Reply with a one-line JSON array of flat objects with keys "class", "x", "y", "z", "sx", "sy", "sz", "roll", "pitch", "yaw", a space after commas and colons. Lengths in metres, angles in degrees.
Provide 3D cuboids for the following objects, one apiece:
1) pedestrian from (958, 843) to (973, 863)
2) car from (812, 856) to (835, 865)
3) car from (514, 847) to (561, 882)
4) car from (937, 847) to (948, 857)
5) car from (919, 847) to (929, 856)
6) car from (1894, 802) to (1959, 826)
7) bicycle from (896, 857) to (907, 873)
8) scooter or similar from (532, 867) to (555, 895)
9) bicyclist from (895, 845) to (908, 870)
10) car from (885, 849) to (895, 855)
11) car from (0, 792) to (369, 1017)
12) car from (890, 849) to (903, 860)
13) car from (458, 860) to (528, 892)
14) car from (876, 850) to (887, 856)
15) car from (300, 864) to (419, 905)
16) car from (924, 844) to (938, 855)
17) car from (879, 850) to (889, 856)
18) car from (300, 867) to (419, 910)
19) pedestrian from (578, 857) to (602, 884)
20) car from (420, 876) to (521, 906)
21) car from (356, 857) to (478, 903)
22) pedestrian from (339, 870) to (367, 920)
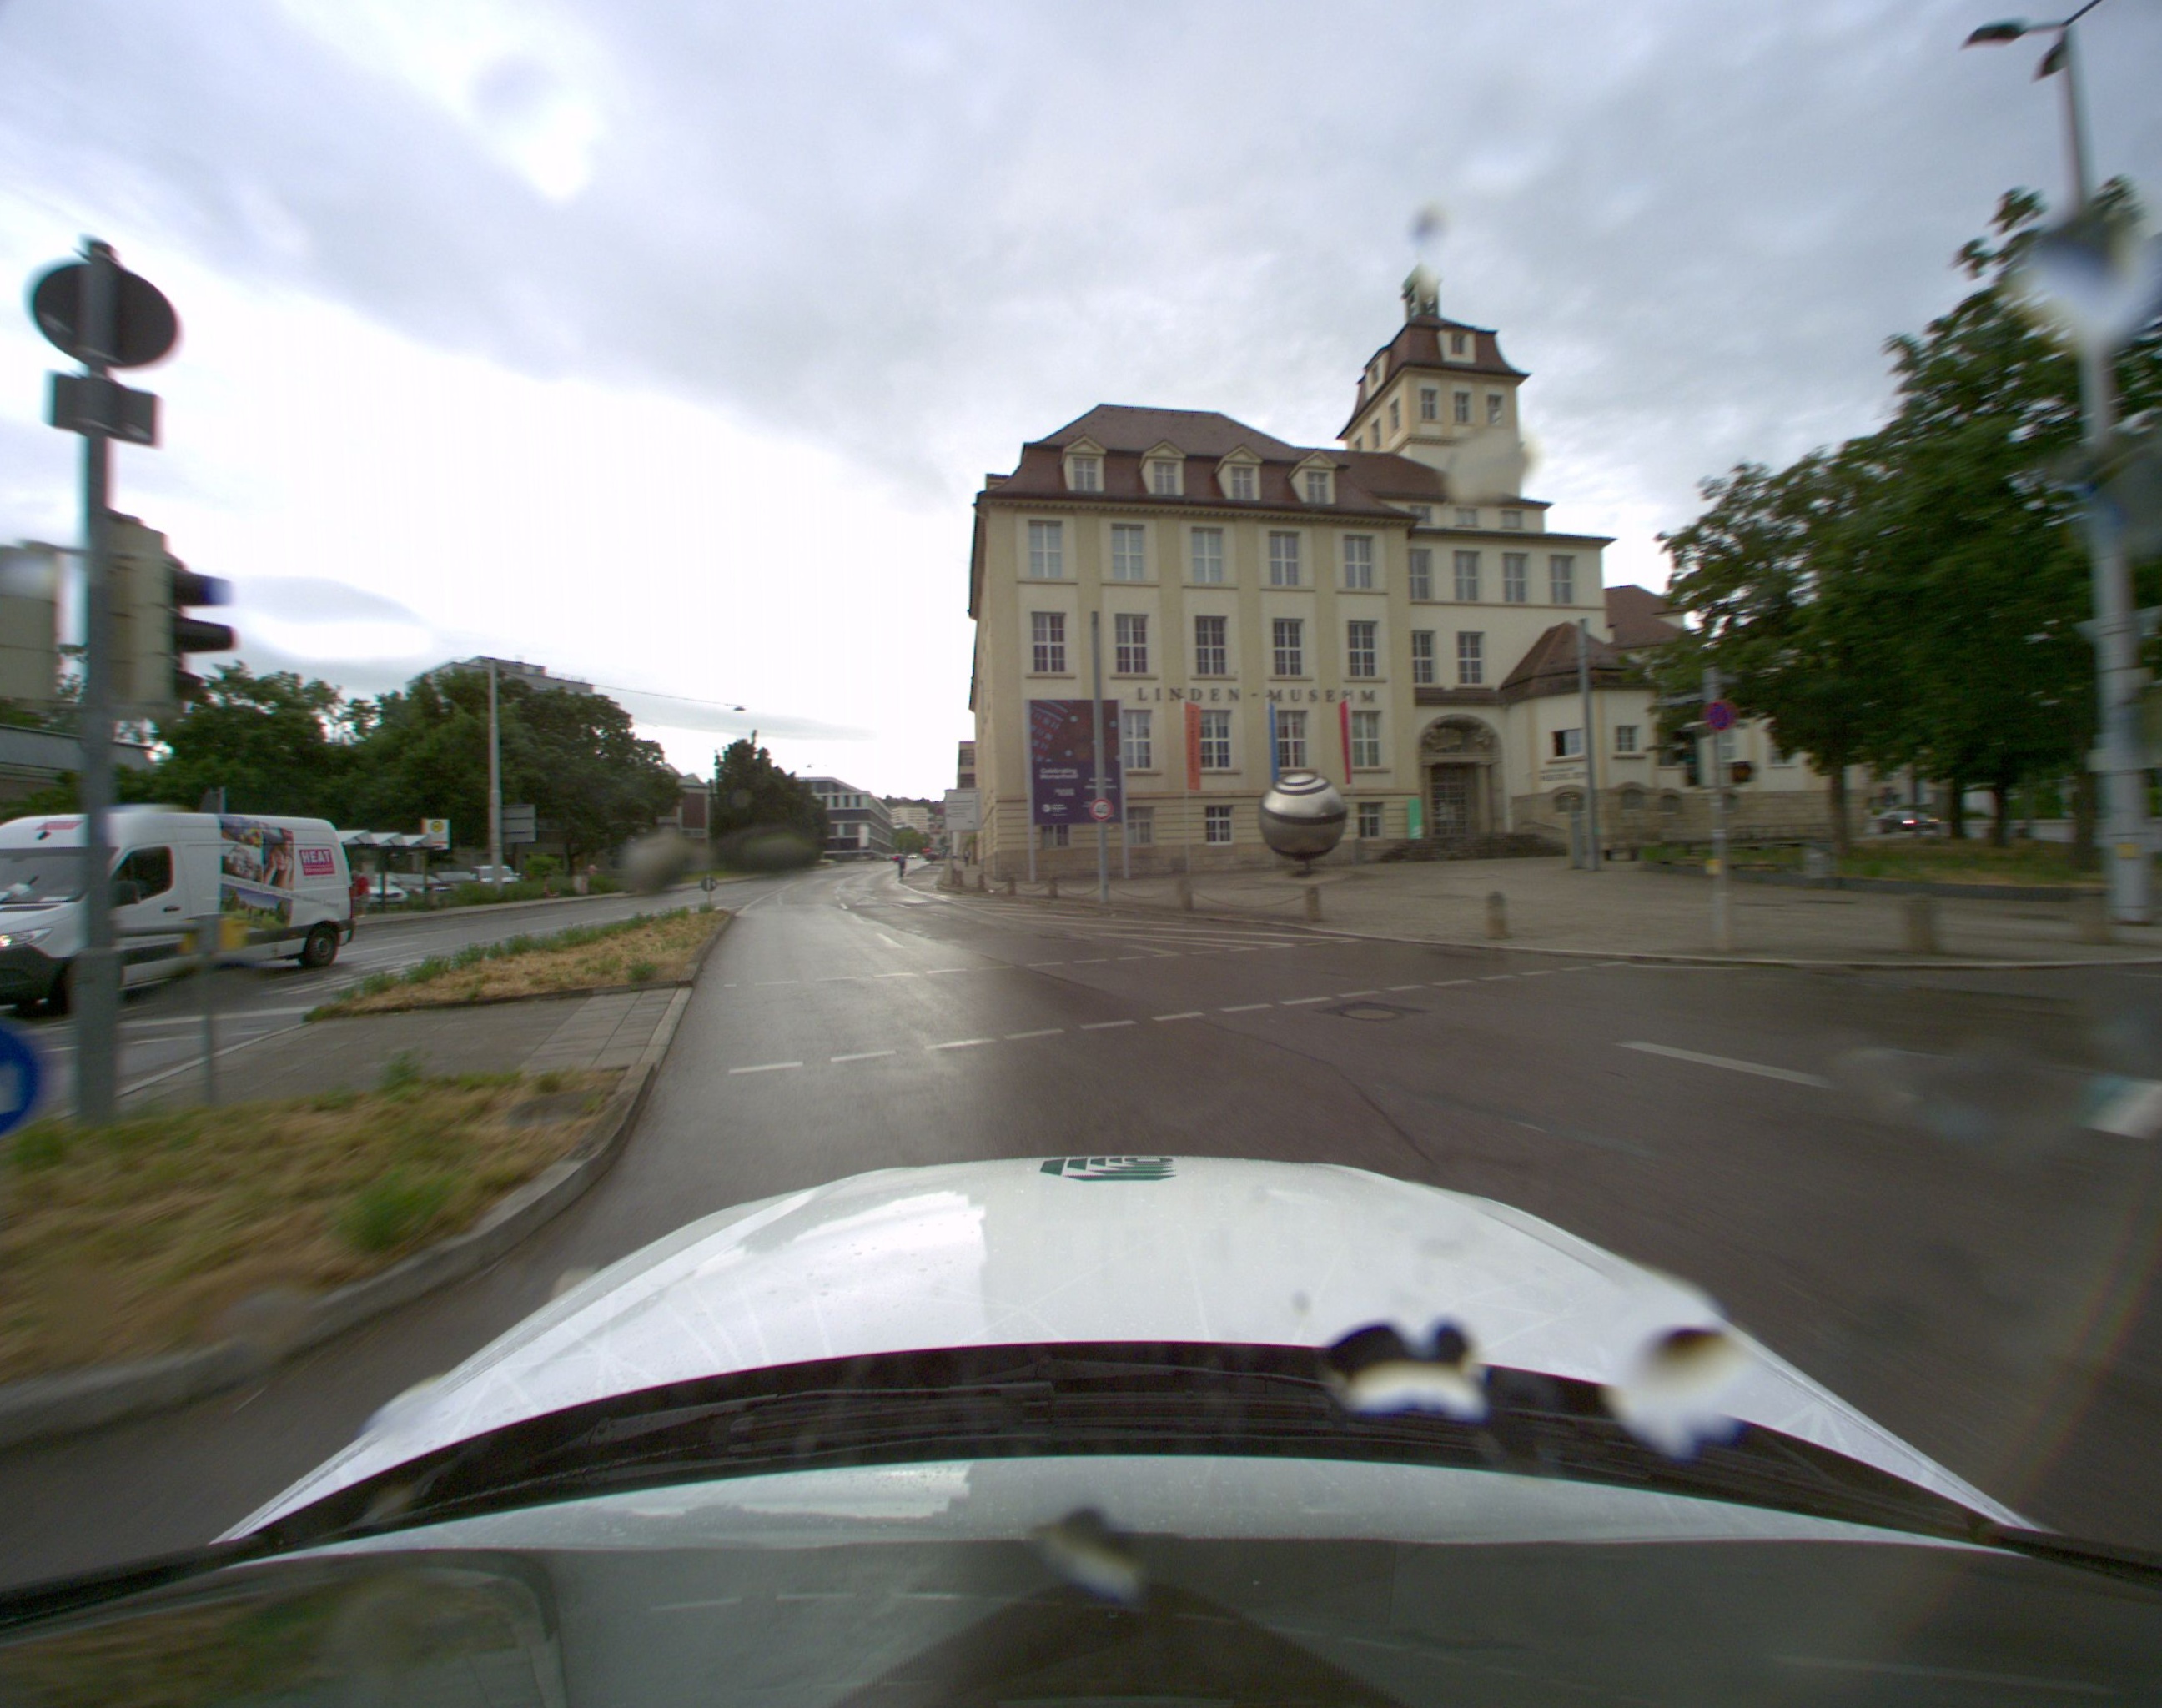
[{"class": "pedestrian", "x": -11.001, "y": -0.100, "z": 77.809, "sx": 1.238, "sy": 1.788, "sz": 1.592, "roll": -4, "pitch": 1, "yaw": -6}, {"class": "car", "x": -63.481, "y": 1.611, "z": 200.608, "sx": 5.228, "sy": 2.013, "sz": 1.993, "roll": -1, "pitch": 0, "yaw": -11}, {"class": "car", "x": -29.669, "y": 0.588, "z": 44.549, "sx": 1.860, "sy": 1.742, "sz": 4.035, "roll": -2, "pitch": -1, "yaw": -31}, {"class": "car", "x": -24.721, "y": -0.317, "z": 145.076, "sx": 1.838, "sy": 1.559, "sz": 3.989, "roll": -1, "pitch": 2, "yaw": -8}, {"class": "car", "x": -31.686, "y": -0.478, "z": 164.652, "sx": 1.838, "sy": 1.559, "sz": 3.989, "roll": -1, "pitch": 2, "yaw": -8}, {"class": "car", "x": 58.285, "y": -2.753, "z": 56.200, "sx": 1.772, "sy": 1.441, "sz": 4.024, "roll": -3, "pitch": 0, "yaw": 26}, {"class": "bicycle", "x": -11.716, "y": 0.714, "z": 53.127, "sx": 0.646, "sy": 1.056, "sz": 1.814, "roll": -1, "pitch": 0, "yaw": -12}, {"class": "scooter or similar", "x": -25.263, "y": 1.253, "z": 38.276, "sx": 0.457, "sy": 1.266, "sz": 0.975, "roll": -1, "pitch": 0, "yaw": -5}, {"class": "bicyclist", "x": -11.711, "y": 0.233, "z": 53.139, "sx": 0.700, "sy": 1.632, "sz": 1.125, "roll": -1, "pitch": 0, "yaw": -10}, {"class": "car", "x": -48.574, "y": -0.486, "z": 207.187, "sx": 1.836, "sy": 1.235, "sz": 3.409, "roll": -1, "pitch": 2, "yaw": -6}, {"class": "car", "x": -13.553, "y": 0.621, "z": 11.773, "sx": 2.060, "sy": 2.494, "sz": 6.014, "roll": -3, "pitch": 1, "yaw": -11}, {"class": "car", "x": -30.983, "y": 0.049, "z": 136.703, "sx": 1.893, "sy": 1.625, "sz": 3.633, "roll": -1, "pitch": 2, "yaw": -11}, {"class": "car", "x": -29.045, "y": 1.038, "z": 40.182, "sx": 4.023, "sy": 1.442, "sz": 1.866, "roll": -1, "pitch": 1, "yaw": 40}, {"class": "car", "x": -45.671, "y": -0.145, "z": 186.277, "sx": 1.836, "sy": 1.235, "sz": 3.409, "roll": -1, "pitch": 2, "yaw": -6}, {"class": "car", "x": -27.202, "y": 1.114, "z": 30.709, "sx": 3.951, "sy": 1.415, "sz": 1.844, "roll": 0, "pitch": 1, "yaw": 24}, {"class": "car", "x": -23.097, "y": -0.678, "z": 125.641, "sx": 1.836, "sy": 1.559, "sz": 3.993, "roll": -1, "pitch": 2, "yaw": -6}, {"class": "car", "x": -46.189, "y": -0.304, "z": 190.885, "sx": 1.836, "sy": 1.235, "sz": 3.409, "roll": -1, "pitch": 2, "yaw": -6}, {"class": "car", "x": -27.264, "y": 1.309, "z": 30.775, "sx": 4.025, "sy": 1.442, "sz": 1.865, "roll": -3, "pitch": -1, "yaw": 24}, {"class": "pedestrian", "x": -29.012, "y": 0.974, "z": 48.093, "sx": 0.802, "sy": 1.571, "sz": 0.957, "roll": -1, "pitch": 0, "yaw": 0}, {"class": "car", "x": -27.085, "y": 1.607, "z": 36.167, "sx": 3.463, "sy": 1.220, "sz": 1.841, "roll": 0, "pitch": 0, "yaw": 14}, {"class": "car", "x": -27.196, "y": 1.042, "z": 33.381, "sx": 3.958, "sy": 1.768, "sz": 1.841, "roll": -1, "pitch": 1, "yaw": 14}, {"class": "pedestrian", "x": -23.628, "y": 1.317, "z": 26.424, "sx": 0.503, "sy": 1.594, "sz": 0.617, "roll": 0, "pitch": 0, "yaw": 44}]
